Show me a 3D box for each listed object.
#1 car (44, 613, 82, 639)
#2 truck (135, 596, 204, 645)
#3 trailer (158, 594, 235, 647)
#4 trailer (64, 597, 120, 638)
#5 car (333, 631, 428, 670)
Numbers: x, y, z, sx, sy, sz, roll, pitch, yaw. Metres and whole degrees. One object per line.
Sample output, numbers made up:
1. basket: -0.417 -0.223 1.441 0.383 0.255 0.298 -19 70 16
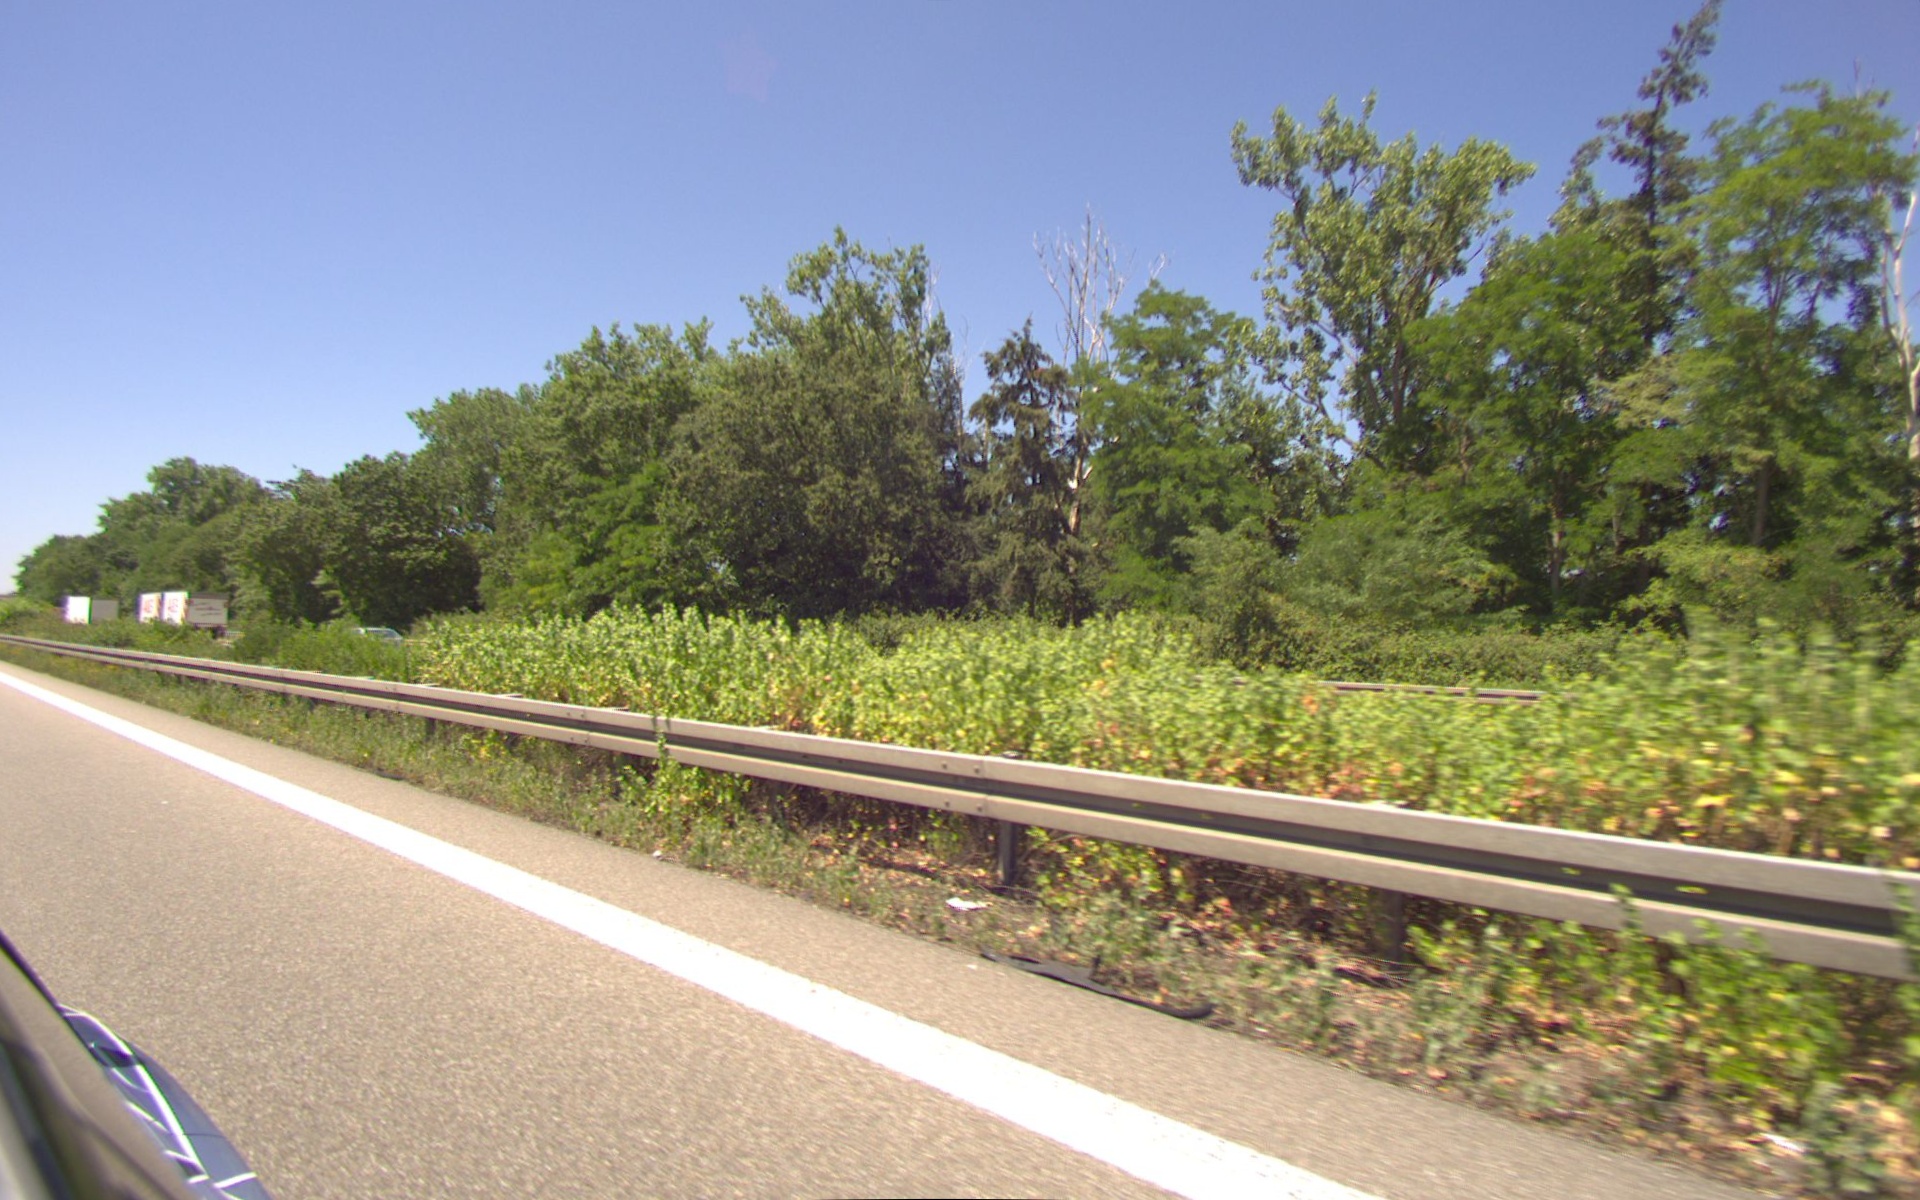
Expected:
1. car: -87.510 2.515 98.741 5.083 2.485 2.102 -1 -2 41
2. truck: -65.973 1.692 84.355 9.272 3.857 2.895 -1 -2 42
3. trailer: -59.063 1.588 78.195 9.272 3.857 2.895 -1 -2 42
4. trailer: -94.453 1.939 109.986 14.241 4.121 2.510 -1 -3 42
5. car: -22.313 1.921 38.881 4.308 1.390 1.834 -1 -2 41
